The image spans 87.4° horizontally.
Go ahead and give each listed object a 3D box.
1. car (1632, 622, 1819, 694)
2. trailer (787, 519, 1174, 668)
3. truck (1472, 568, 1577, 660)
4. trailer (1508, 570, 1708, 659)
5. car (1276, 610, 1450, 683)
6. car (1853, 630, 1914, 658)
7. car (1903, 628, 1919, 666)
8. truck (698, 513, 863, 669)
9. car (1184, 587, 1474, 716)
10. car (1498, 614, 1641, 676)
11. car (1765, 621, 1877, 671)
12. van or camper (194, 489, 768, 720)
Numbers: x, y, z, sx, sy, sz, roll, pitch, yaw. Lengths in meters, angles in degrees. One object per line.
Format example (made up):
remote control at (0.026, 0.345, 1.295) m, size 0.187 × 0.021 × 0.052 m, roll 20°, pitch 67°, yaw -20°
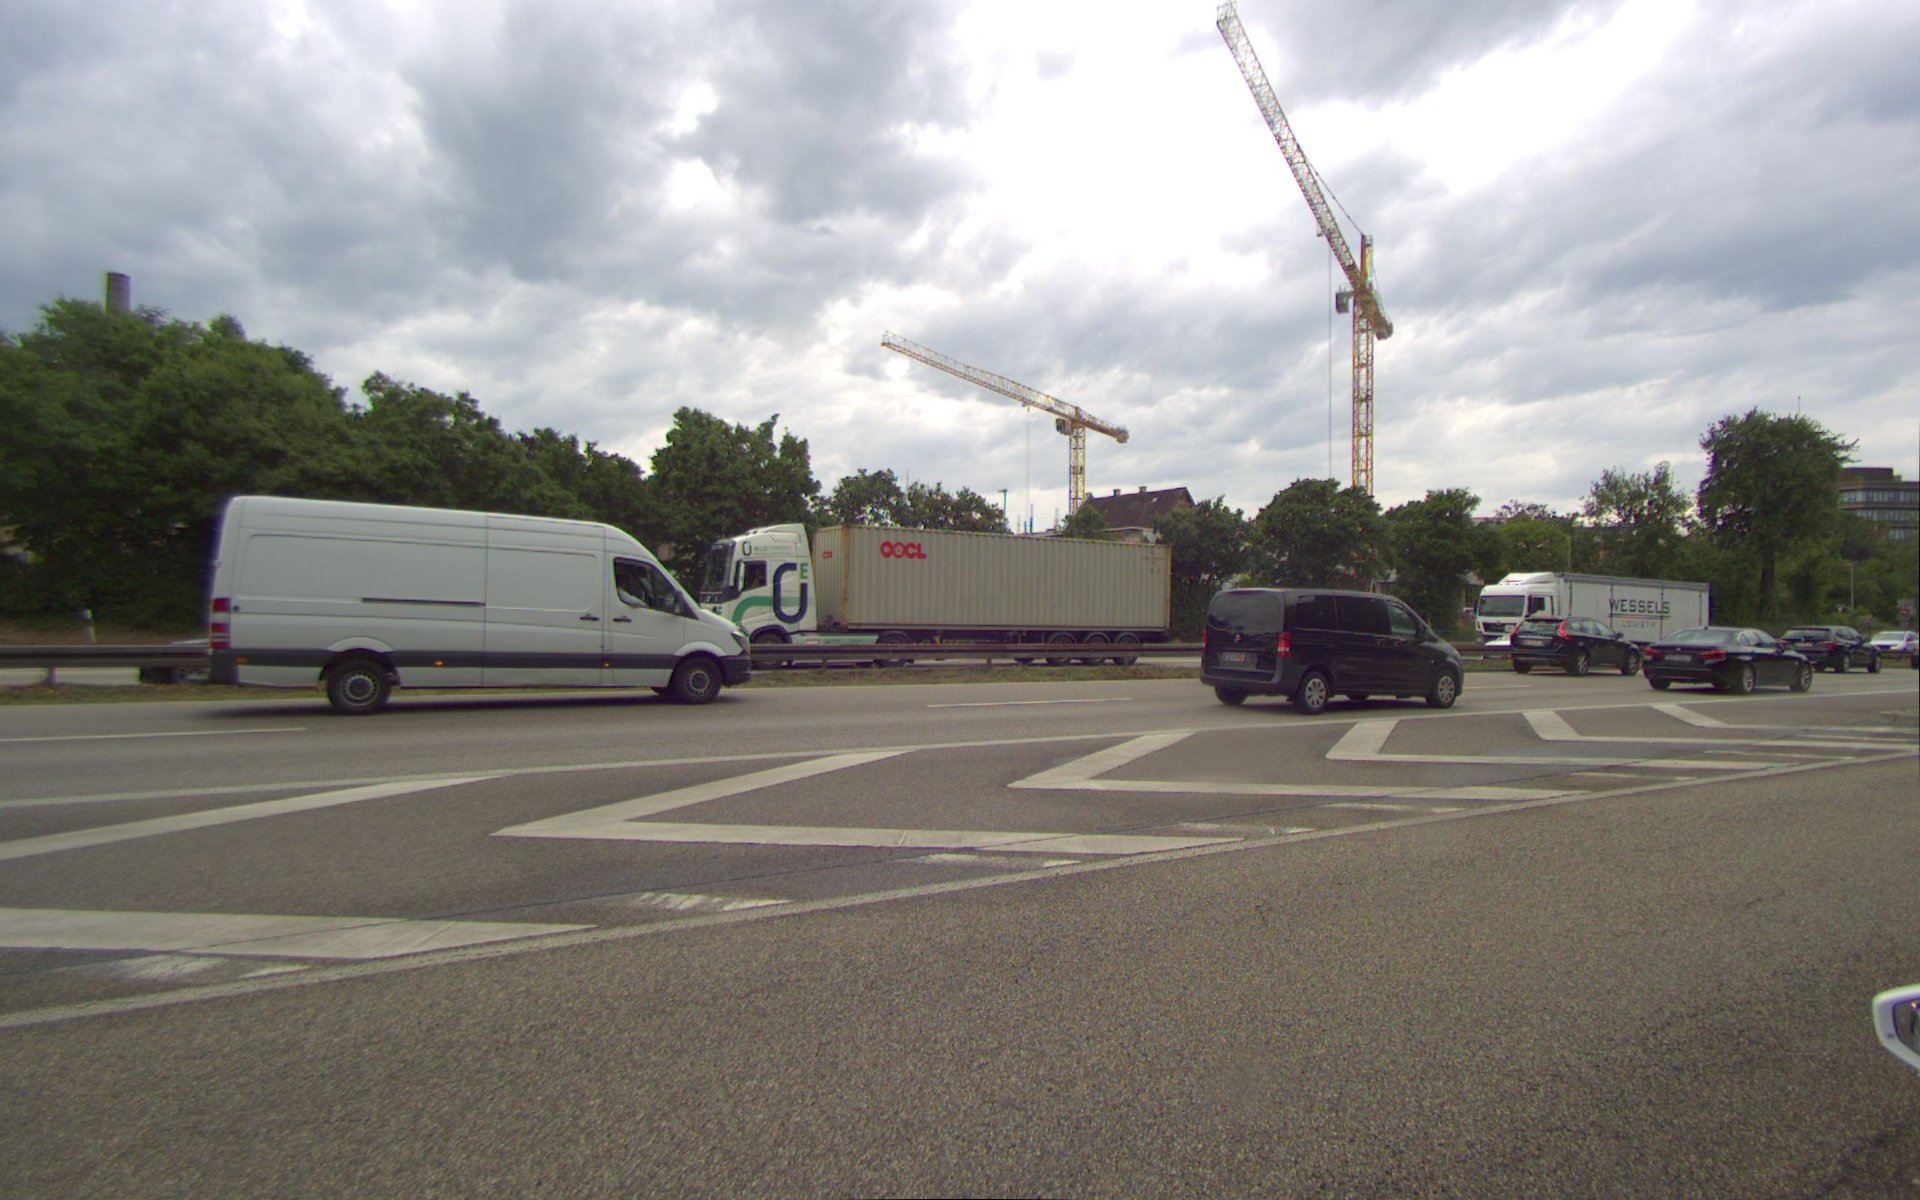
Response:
car at (17.566, 1.272, 23.002) m, size 4.610 × 1.476 × 1.705 m, roll 1°, pitch 0°, yaw -29°
trailer at (1.094, -0.049, 31.866) m, size 12.924 × 4.082 × 2.386 m, roll 1°, pitch -1°, yaw -30°
truck at (26.024, 0.652, 46.312) m, size 3.953 × 4.043 × 2.584 m, roll 1°, pitch -1°, yaw -30°
trailer at (32.660, 0.806, 50.248) m, size 13.622 × 4.035 × 2.581 m, roll 1°, pitch -1°, yaw -31°
car at (9.542, 1.067, 23.721) m, size 3.896 × 1.588 × 1.759 m, roll 1°, pitch -1°, yaw -29°
car at (53.053, 2.504, 57.708) m, size 3.666 × 1.498 × 1.668 m, roll 1°, pitch -1°, yaw -31°
car at (43.160, 2.073, 43.985) m, size 3.962 × 1.629 × 1.679 m, roll 1°, pitch 1°, yaw -31°
truck at (-5.053, -0.198, 28.250) m, size 3.953 × 4.074 × 2.395 m, roll 1°, pitch -1°, yaw -30°
car at (6.163, 0.793, 16.632) m, size 4.757 × 1.876 × 1.983 m, roll 1°, pitch 0°, yaw -31°
car at (17.709, 1.284, 29.152) m, size 4.216 × 1.657 × 1.744 m, roll 1°, pitch 0°, yaw -30°
car at (31.250, 1.650, 36.434) m, size 4.257 × 1.704 × 1.881 m, roll 1°, pitch -1°, yaw -31°
van or camper at (-6.351, 0.134, 14.210) m, size 6.877 × 2.656 × 2.039 m, roll 1°, pitch -1°, yaw -31°
